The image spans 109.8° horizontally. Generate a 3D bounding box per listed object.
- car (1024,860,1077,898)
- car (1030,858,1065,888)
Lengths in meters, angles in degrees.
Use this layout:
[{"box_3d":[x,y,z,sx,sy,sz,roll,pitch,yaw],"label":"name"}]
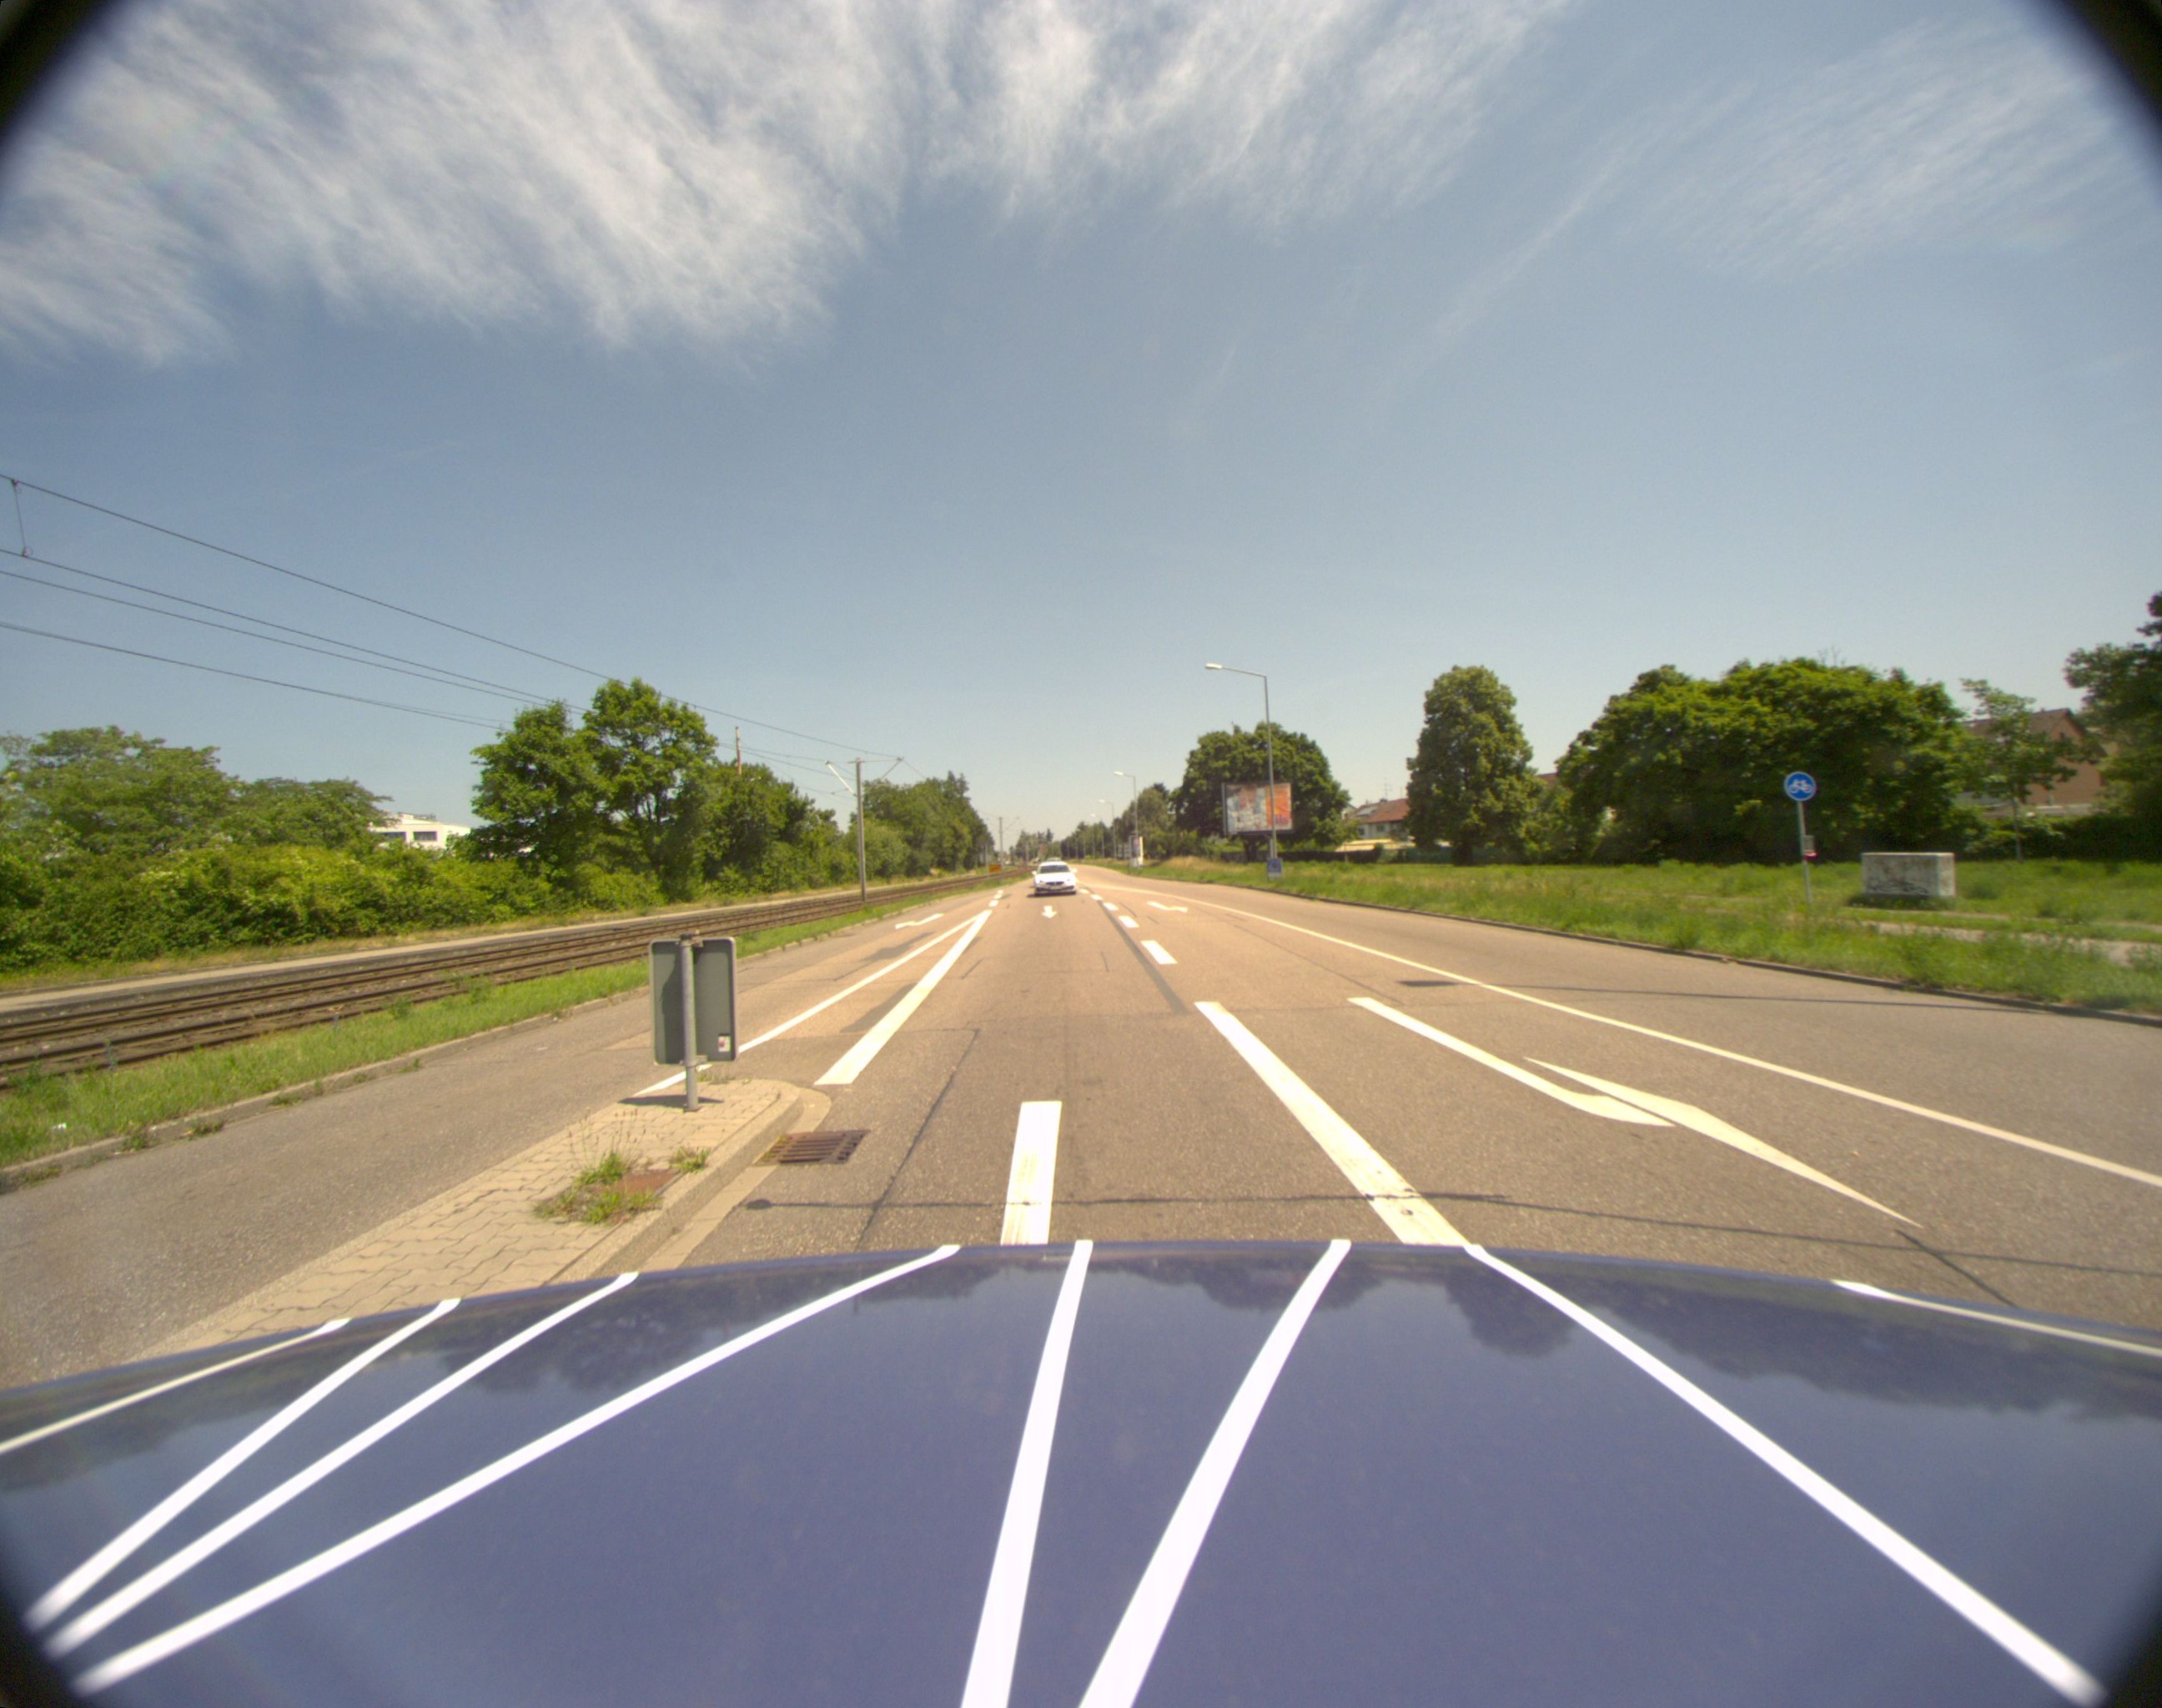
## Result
[{"box_3d":[-1.289,1.058,34.018,1.954,1.467,4.362,-3,0,2],"label":"car"},{"box_3d":[-1.930,1.103,45.098,1.780,1.628,4.000,-2,0,1],"label":"car"}]
